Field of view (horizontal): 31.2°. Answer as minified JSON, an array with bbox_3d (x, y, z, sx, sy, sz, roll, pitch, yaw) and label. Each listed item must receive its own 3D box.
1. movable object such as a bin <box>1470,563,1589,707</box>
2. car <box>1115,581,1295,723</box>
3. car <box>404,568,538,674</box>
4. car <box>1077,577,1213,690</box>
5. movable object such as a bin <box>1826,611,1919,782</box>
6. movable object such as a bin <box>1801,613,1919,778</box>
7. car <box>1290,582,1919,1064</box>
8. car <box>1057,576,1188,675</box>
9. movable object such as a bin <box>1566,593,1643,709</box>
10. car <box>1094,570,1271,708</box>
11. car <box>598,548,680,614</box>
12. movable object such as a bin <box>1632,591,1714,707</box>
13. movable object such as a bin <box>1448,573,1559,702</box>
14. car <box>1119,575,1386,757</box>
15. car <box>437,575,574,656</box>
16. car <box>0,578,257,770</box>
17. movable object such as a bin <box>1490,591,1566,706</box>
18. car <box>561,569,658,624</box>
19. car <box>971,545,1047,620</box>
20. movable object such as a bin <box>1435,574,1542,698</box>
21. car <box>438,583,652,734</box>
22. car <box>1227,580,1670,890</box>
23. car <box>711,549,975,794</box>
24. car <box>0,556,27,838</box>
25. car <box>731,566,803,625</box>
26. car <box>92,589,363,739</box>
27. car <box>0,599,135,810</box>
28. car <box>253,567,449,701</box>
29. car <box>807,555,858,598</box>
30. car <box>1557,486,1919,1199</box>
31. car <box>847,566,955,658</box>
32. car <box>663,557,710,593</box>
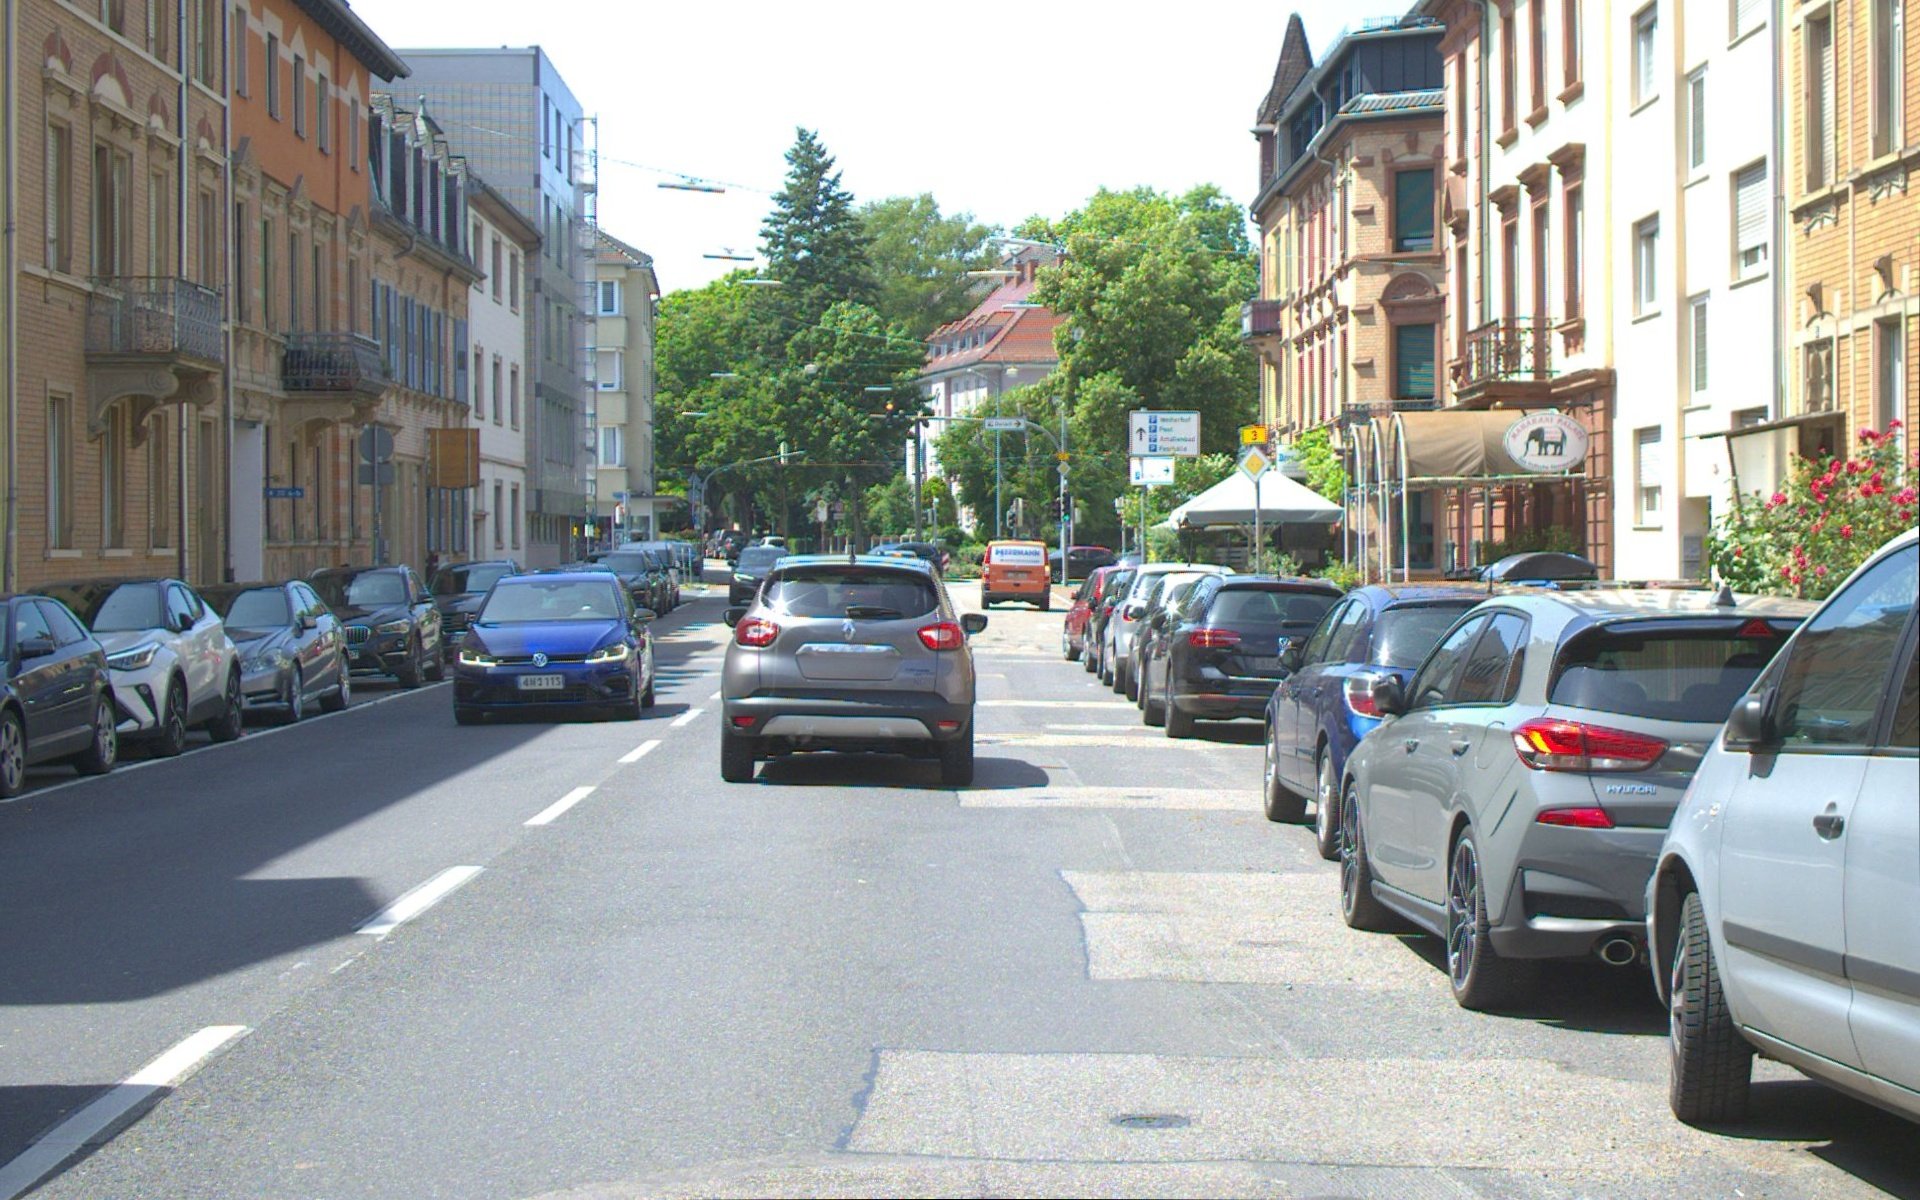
[{"bbox_3d":[6.173,0.366,37.327,1.043,1.513,1.446,1,1,1],"label":"movable object such as a bin"},{"bbox_3d":[2.665,0.535,38.118,1.660,1.436,4.000,1,1,0],"label":"car"},{"bbox_3d":[-8.022,0.317,56.694,1.904,1.614,4.303,-2,0,-5],"label":"car"},{"bbox_3d":[2.498,0.431,47.066,1.611,1.456,3.505,1,1,-1],"label":"car"},{"bbox_3d":[5.997,0.617,22.202,0.652,1.079,0.683,0,0,2],"label":"movable object such as a bin"},{"bbox_3d":[6.031,0.632,23.015,0.652,1.079,0.683,0,0,2],"label":"movable object such as a bin"},{"bbox_3d":[2.544,0.718,13.245,1.860,1.482,4.310,2,1,-3],"label":"car"},{"bbox_3d":[2.463,0.362,52.775,1.611,1.438,3.437,1,1,-4],"label":"car"},{"bbox_3d":[6.741,0.526,35.978,0.638,1.182,0.852,1,0,1],"label":"movable object such as a bin"},{"bbox_3d":[2.681,0.438,42.209,1.860,1.548,4.000,2,1,0],"label":"car"},{"bbox_3d":[-8.996,-0.550,96.739,1.904,1.815,4.302,0,1,0],"label":"car"},{"bbox_3d":[7.456,0.504,35.974,0.668,1.173,0.852,1,0,1],"label":"movable object such as a bin"},{"bbox_3d":[6.111,0.411,38.699,1.043,1.397,1.254,1,1,1],"label":"movable object such as a bin"},{"bbox_3d":[2.576,0.537,31.325,1.860,1.460,4.618,2,1,-2],"label":"car"},{"bbox_3d":[-8.200,0.261,62.363,1.904,1.352,4.302,-2,0,-1],"label":"car"},{"bbox_3d":[-7.481,0.593,29.915,1.904,1.505,4.303,-2,0,-1],"label":"car"},{"bbox_3d":[5.930,0.498,35.940,0.638,1.173,0.911,1,1,1],"label":"movable object such as a bin"},{"bbox_3d":[-8.448,-0.108,83.128,1.904,1.287,4.302,0,1,0],"label":"car"},{"bbox_3d":[1.332,-0.504,95.042,1.993,2.007,4.466,-1,1,0],"label":"car"},{"bbox_3d":[6.130,0.409,39.957,1.043,1.397,1.254,1,1,1],"label":"movable object such as a bin"},{"bbox_3d":[-4.071,0.537,34.240,1.816,1.384,4.000,0,1,-3],"label":"car"},{"bbox_3d":[2.639,0.670,19.626,1.695,1.482,4.618,2,1,-2],"label":"car"},{"bbox_3d":[-0.829,0.457,24.935,1.744,1.611,4.000,1,1,-1],"label":"car"},{"bbox_3d":[-7.045,0.629,18.249,1.906,1.632,4.554,-2,0,16],"label":"car"},{"bbox_3d":[-5.440,-0.145,97.150,1.939,1.620,4.000,1,1,-2],"label":"car"},{"bbox_3d":[-7.643,0.622,36.315,1.904,1.396,4.755,-2,0,-1],"label":"car"},{"bbox_3d":[-7.391,0.728,24.798,1.904,1.375,4.061,-2,0,-1],"label":"car"},{"bbox_3d":[-7.962,0.415,45.270,1.904,1.614,4.303,-2,0,-2],"label":"car"},{"bbox_3d":[-4.872,-0.915,131.386,1.790,1.620,3.744,0,1,-4],"label":"car"},{"bbox_3d":[2.913,0.647,8.016,1.860,1.742,4.619,2,1,-4],"label":"car"},{"bbox_3d":[-1.139,0.208,63.978,1.812,1.615,4.442,-1,0,-3],"label":"car"},{"bbox_3d":[-12.575,-1.181,158.009,1.790,1.620,3.743,0,1,1],"label":"car"}]
